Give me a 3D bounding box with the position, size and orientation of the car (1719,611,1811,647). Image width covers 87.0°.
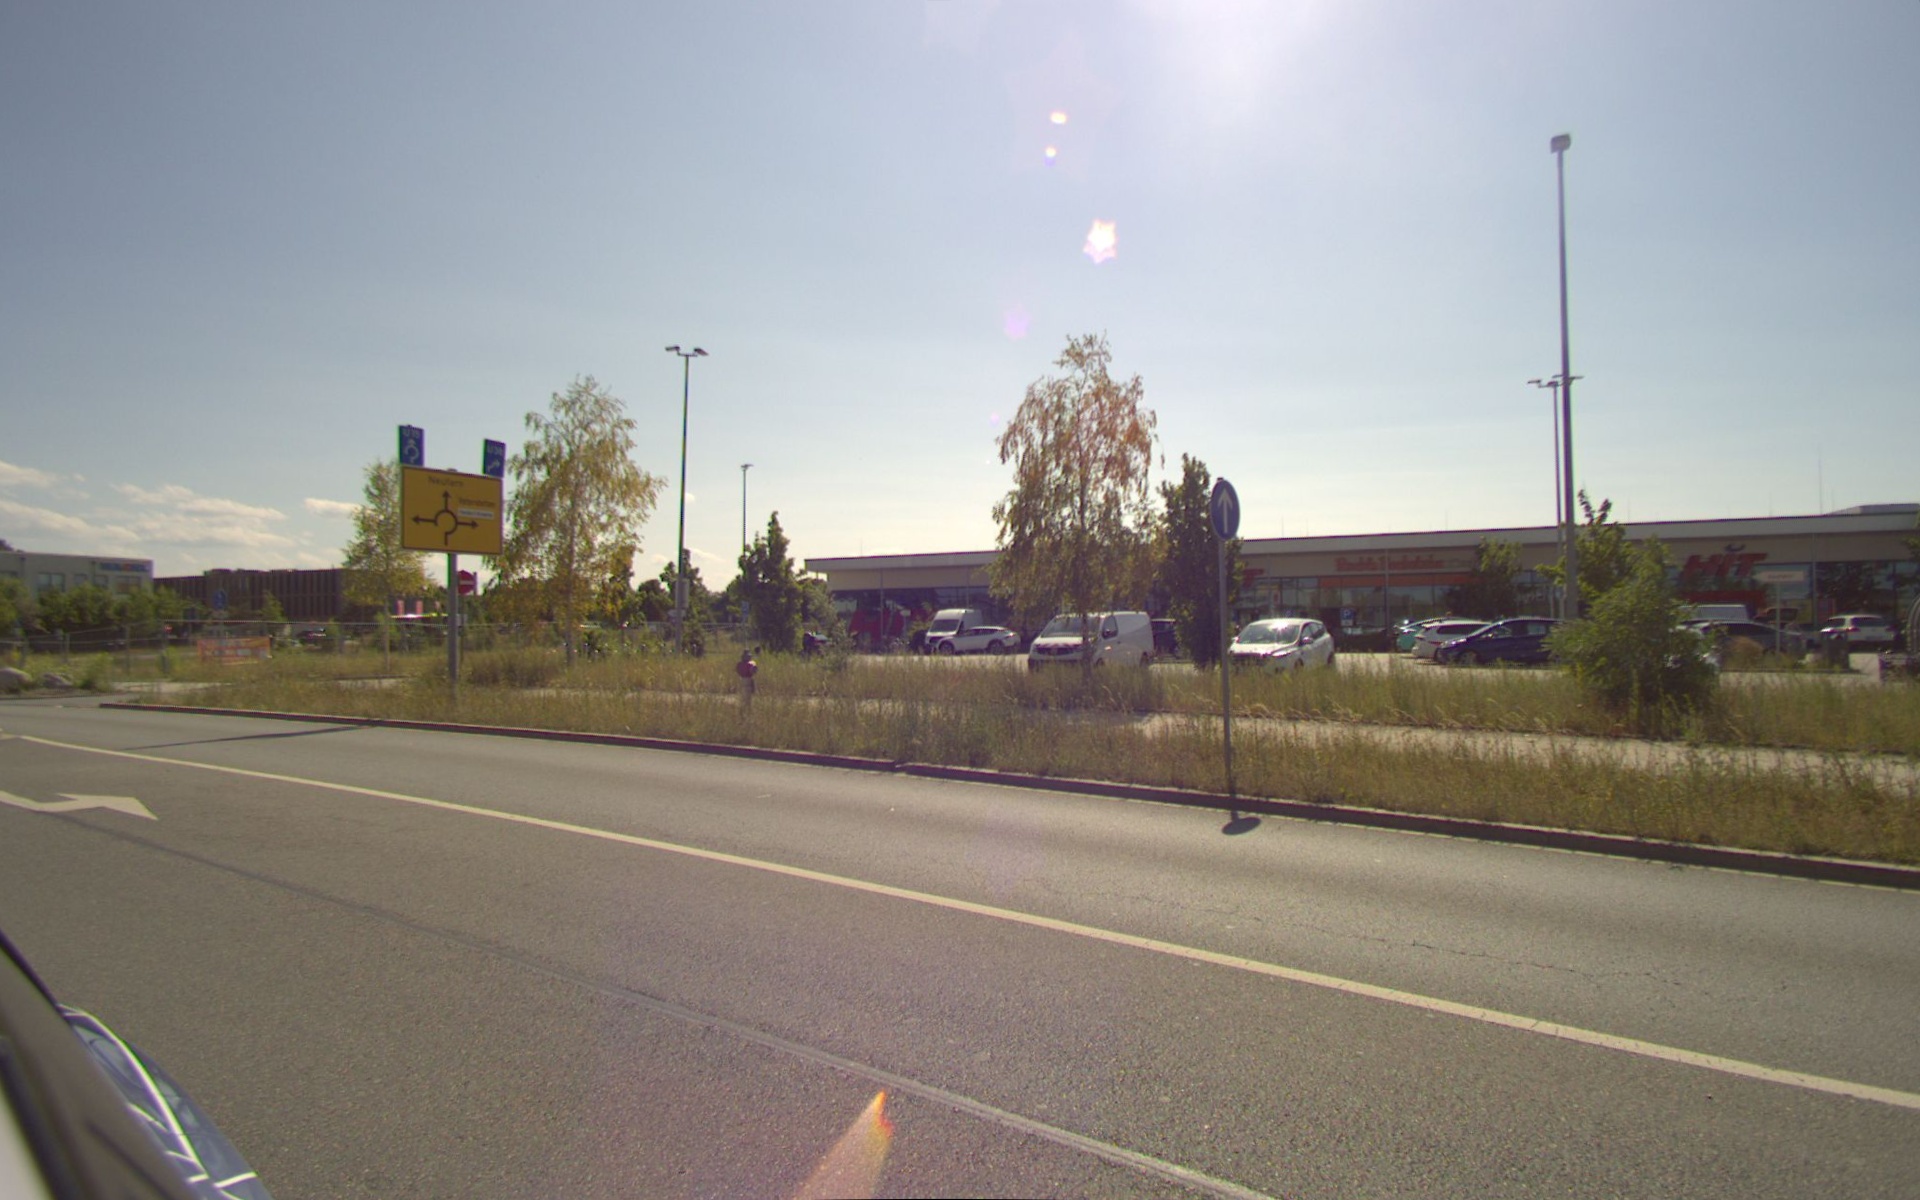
[{"bbox_3d":[35.570,1.274,44.846,1.703,1.530,4.329,-1,-2,17],"label":"car"}]

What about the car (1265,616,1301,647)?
[{"bbox_3d":[16.946,1.646,53.177,1.703,1.531,4.329,-1,-2,17],"label":"car"}]

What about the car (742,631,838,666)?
[{"bbox_3d":[-8.804,2.504,52.511,4.383,1.701,2.269,-1,-1,18],"label":"car"}]

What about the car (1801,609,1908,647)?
[{"bbox_3d":[38.677,1.215,43.894,1.819,1.536,4.329,-1,-2,17],"label":"car"}]

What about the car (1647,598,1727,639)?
[{"bbox_3d":[33.821,0.893,47.198,1.703,1.821,4.329,-1,-2,17],"label":"car"}]

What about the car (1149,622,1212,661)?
[{"bbox_3d":[9.322,1.718,42.659,1.833,1.564,3.968,-1,-2,24],"label":"car"}]

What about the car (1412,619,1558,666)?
[{"bbox_3d":[17.746,1.445,34.433,4.213,1.528,1.704,-1,-2,24],"label":"car"}]

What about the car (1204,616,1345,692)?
[{"bbox_3d":[7.804,1.260,24.838,1.995,1.685,4.550,-2,-2,35],"label":"car"}]

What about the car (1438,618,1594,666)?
[{"bbox_3d":[17.385,1.317,31.887,4.115,1.436,1.704,-1,-2,24],"label":"car"}]

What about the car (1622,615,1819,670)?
[{"bbox_3d":[22.475,1.260,30.124,4.324,1.538,1.705,-1,-2,21],"label":"car"}]

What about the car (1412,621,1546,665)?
[{"bbox_3d":[18.862,1.566,37.008,4.213,1.528,1.704,-1,-2,24],"label":"car"}]

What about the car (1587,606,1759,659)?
[{"bbox_3d":[24.527,1.129,35.035,4.558,1.754,1.702,-1,-2,26],"label":"car"}]

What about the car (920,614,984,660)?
[{"bbox_3d":[-0.417,2.181,60.424,1.926,2.607,5.679,-1,-2,20],"label":"car"}]

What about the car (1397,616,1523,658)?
[{"bbox_3d":[19.705,1.473,40.096,4.327,1.599,1.704,-1,-2,24],"label":"car"}]

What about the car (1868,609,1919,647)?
[{"bbox_3d":[40.890,1.164,43.005,1.703,1.552,4.329,-1,-2,17],"label":"car"}]

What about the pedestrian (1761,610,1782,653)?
[{"bbox_3d":[28.010,1.083,34.938,0.411,1.475,0.506,-1,-2,24],"label":"pedestrian"}]

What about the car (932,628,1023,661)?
[{"bbox_3d":[0.962,2.411,54.824,4.545,1.701,1.961,-1,-1,23],"label":"car"}]

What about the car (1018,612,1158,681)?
[{"bbox_3d":[3.623,1.218,27.614,1.992,1.685,5.145,-2,-2,29],"label":"car"}]

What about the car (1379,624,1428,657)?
[{"bbox_3d":[22.113,1.981,50.569,1.703,1.556,4.329,-1,-2,17],"label":"car"}]
